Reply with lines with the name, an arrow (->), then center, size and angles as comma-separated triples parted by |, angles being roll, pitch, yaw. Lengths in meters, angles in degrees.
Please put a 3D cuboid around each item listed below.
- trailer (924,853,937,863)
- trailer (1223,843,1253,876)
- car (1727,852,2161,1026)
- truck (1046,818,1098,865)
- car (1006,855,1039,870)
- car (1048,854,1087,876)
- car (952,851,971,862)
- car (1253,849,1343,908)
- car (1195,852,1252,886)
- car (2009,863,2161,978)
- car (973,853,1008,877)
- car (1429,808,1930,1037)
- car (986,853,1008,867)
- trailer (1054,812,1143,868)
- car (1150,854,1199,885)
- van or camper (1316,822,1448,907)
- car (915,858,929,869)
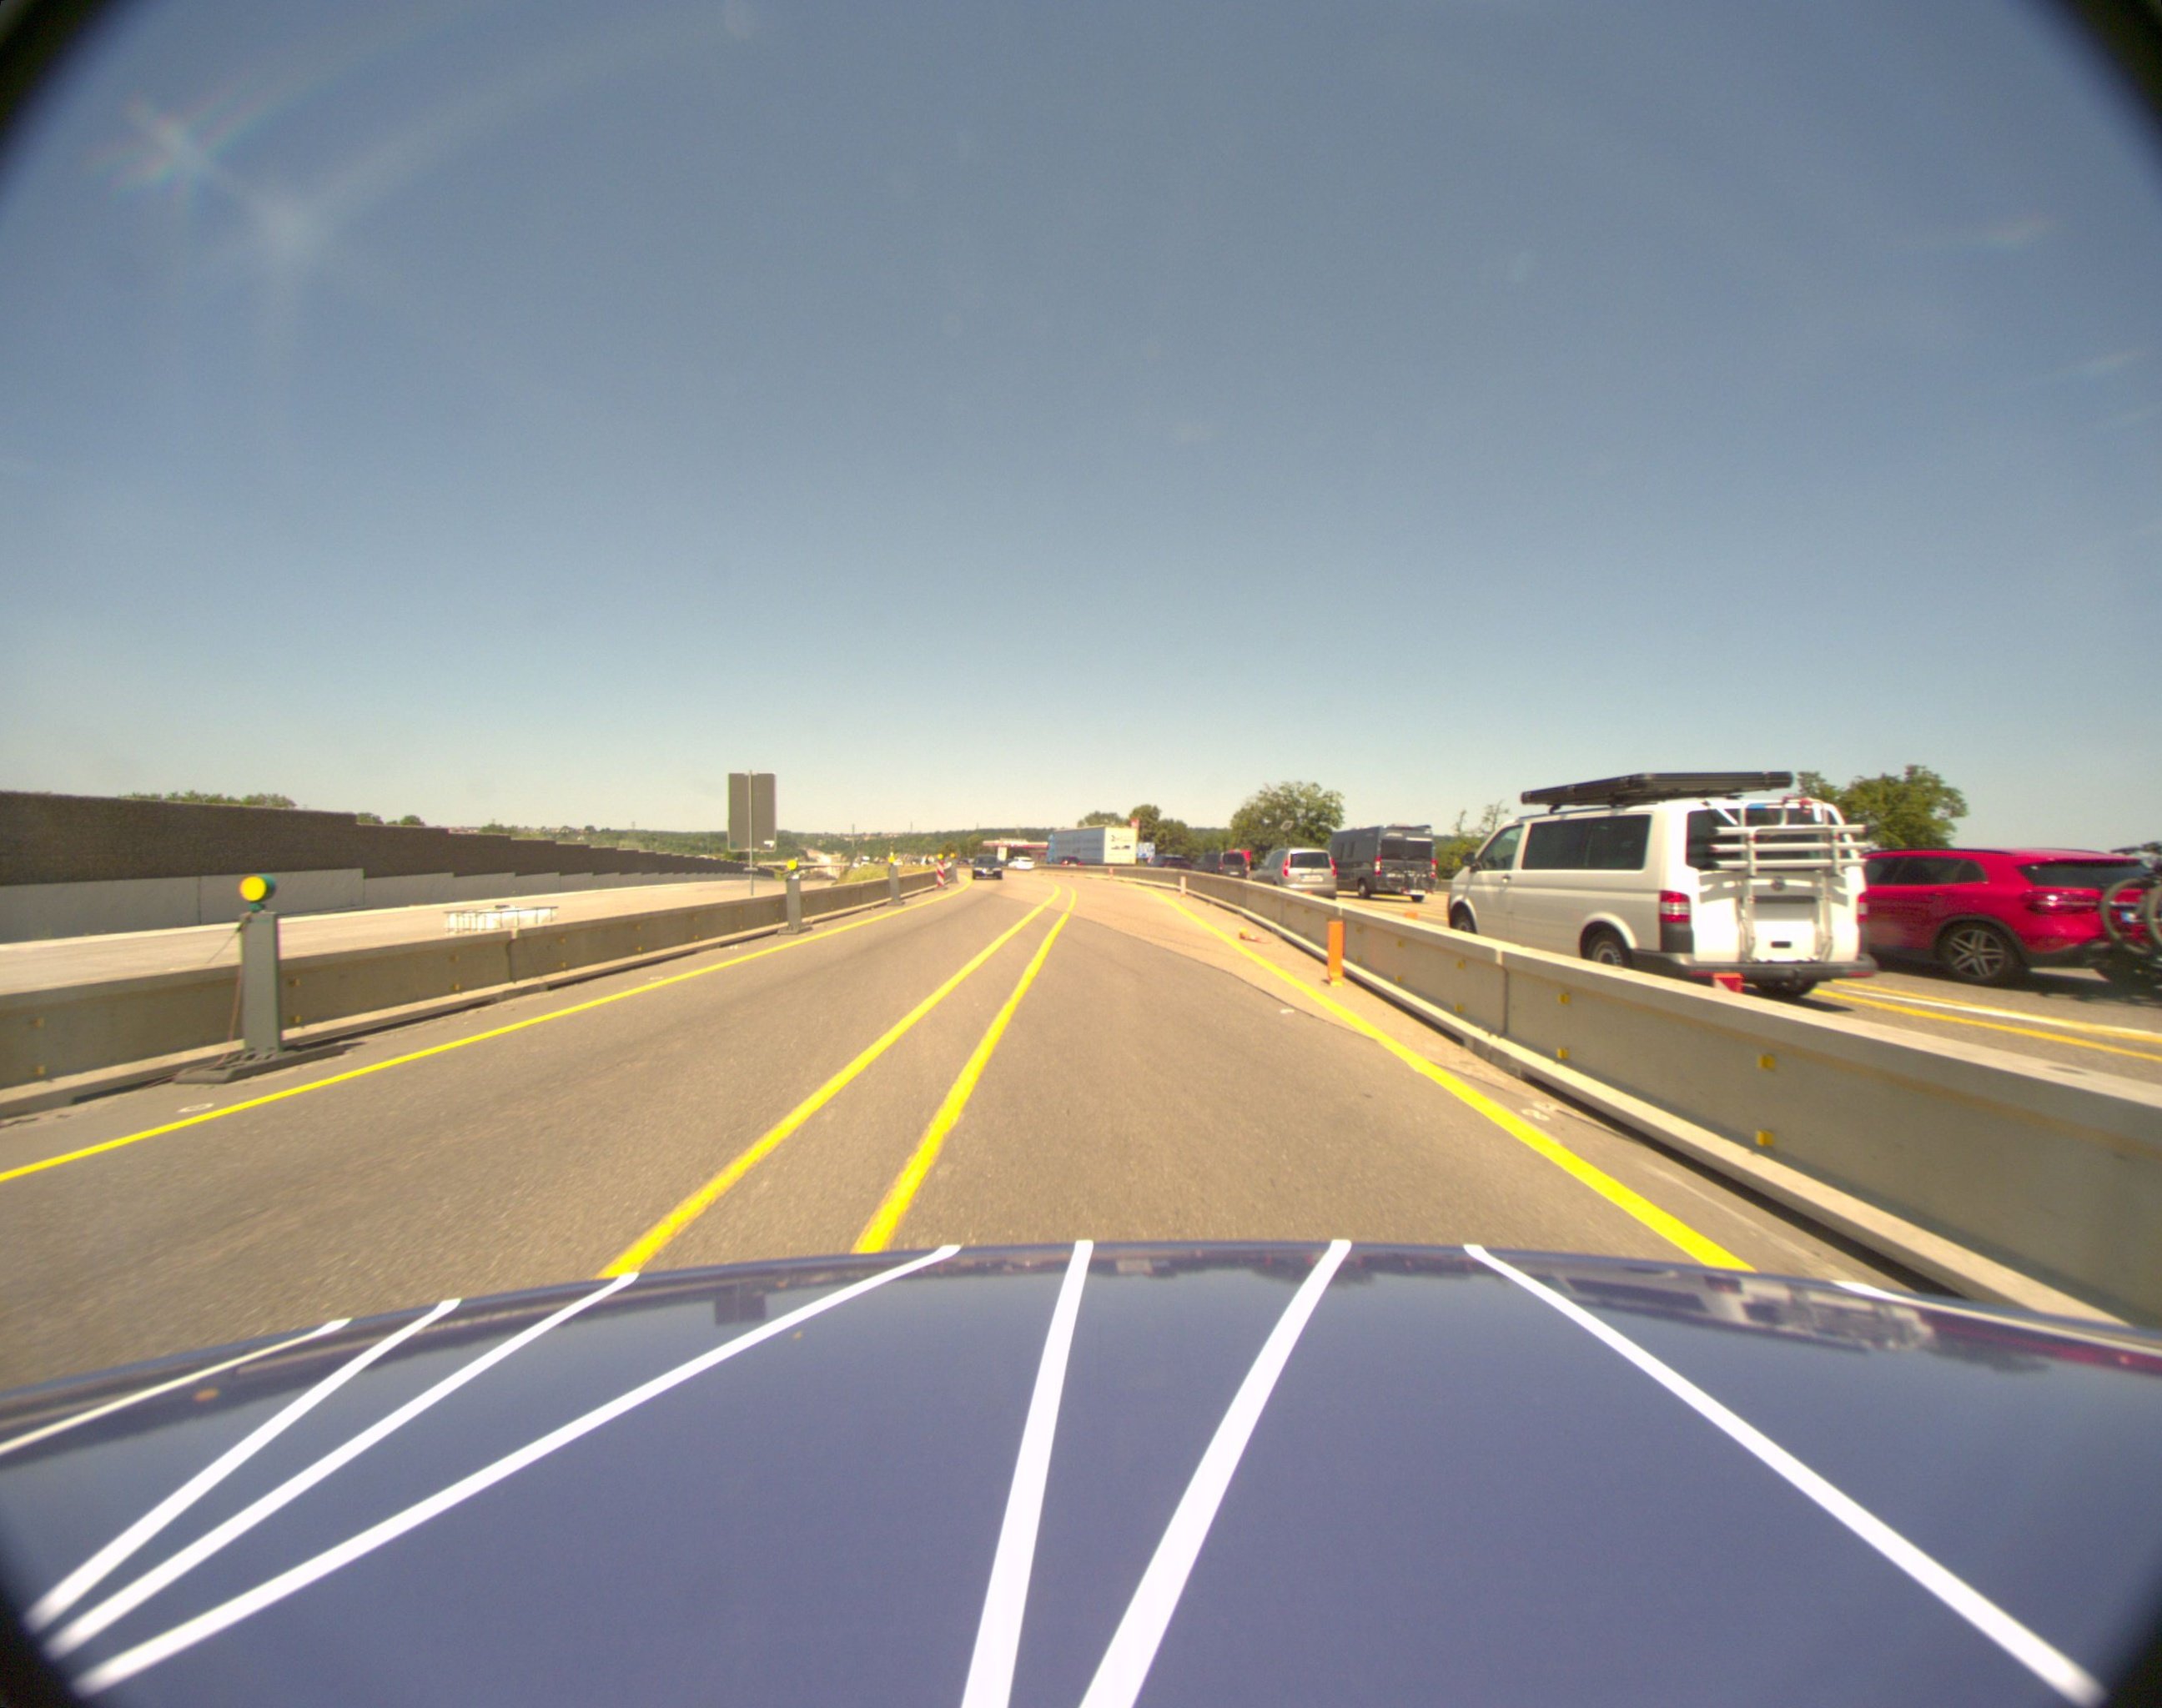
trailer -> -34.051, 0.916, 171.451 | 2.191, 2.300, 5.605 | 2, -1, -18
trailer -> 21.372, 0.881, 103.815 | 3.155, 4.086, 14.177 | 2, -1, 9
car -> 10.417, 0.739, 8.745 | 1.999, 1.493, 4.654 | -1, 0, 0
truck -> -0.916, -1.082, 70.665 | 2.926, 4.104, 6.128 | 2, 0, -18
car -> -5.666, 0.814, 73.328 | 2.024, 1.436, 4.580 | -1, 0, -19
car -> -1.112, 0.829, 59.553 | 1.775, 1.598, 4.703 | 2, 0, -16
car -> -16.743, 0.345, 106.299 | 1.781, 1.419, 4.763 | 3, -1, -17
car -> 6.433, 0.675, 22.971 | 1.761, 1.606, 4.229 | -1, 0, 4
car -> 8.039, 0.797, 43.443 | 1.781, 1.754, 4.707 | 2, 0, -7
car -> 13.991, 0.851, 8.352 | 1.810, 1.385, 4.654 | 3, 0, 0
car -> -5.261, 0.677, 43.833 | 1.812, 1.298, 3.998 | 2, -2, -9
car -> 6.111, 0.570, 8.824 | 1.877, 1.862, 5.058 | 1, 0, 1
car -> -9.664, 0.690, 87.159 | 1.596, 1.432, 4.118 | 3, -1, -18
trailer -> 1.132, -1.063, 64.494 | 2.926, 4.104, 13.893 | 2, 0, -18
car -> 4.800, 0.763, 39.623 | 1.694, 1.472, 4.469 | 2, 0, -3
van or camper -> 10.208, 0.319, 26.432 | 2.104, 2.526, 6.305 | 2, 0, 1
car -> -26.532, 1.557, 126.972 | 1.710, 1.674, 3.782 | -1, 0, -20
